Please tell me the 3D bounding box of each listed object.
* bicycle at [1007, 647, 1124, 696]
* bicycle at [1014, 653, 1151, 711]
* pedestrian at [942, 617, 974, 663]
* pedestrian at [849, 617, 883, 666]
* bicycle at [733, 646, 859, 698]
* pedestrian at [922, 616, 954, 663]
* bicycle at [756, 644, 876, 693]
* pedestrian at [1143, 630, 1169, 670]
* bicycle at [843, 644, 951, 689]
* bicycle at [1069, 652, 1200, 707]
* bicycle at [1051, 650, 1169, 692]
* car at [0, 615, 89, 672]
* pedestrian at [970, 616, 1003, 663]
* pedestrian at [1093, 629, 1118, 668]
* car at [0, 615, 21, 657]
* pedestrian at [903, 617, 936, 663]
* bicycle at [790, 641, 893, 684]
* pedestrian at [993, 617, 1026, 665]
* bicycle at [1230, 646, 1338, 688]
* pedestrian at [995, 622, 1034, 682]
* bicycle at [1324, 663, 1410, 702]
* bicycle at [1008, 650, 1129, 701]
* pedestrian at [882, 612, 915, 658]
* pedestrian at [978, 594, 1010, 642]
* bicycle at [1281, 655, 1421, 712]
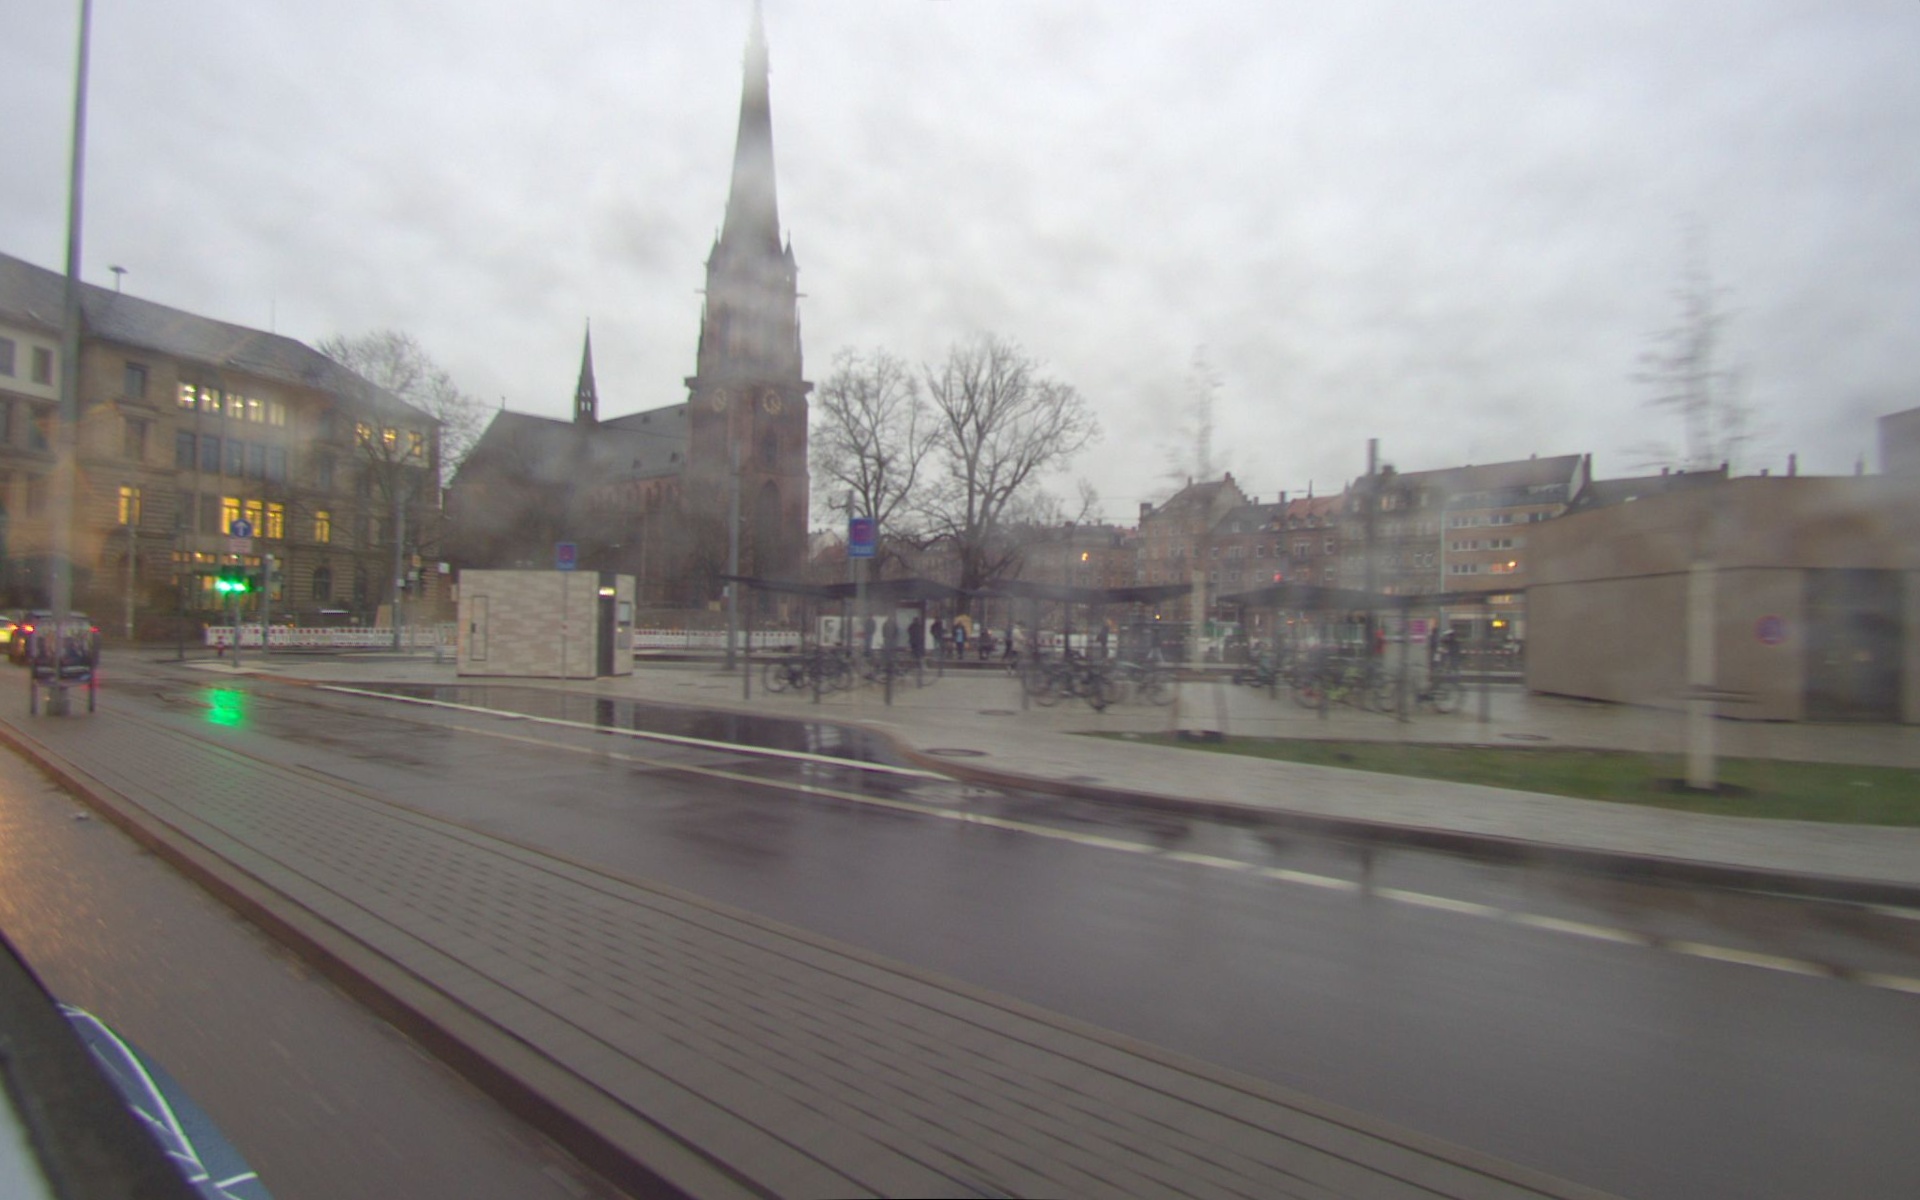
[{"bbox_3d":[2.492,1.699,24.153,2.713,1.113,0.647,1,0,1],"label":"bicycle"},{"bbox_3d":[2.505,1.666,20.681,2.720,1.113,0.645,-1,0,10],"label":"bicycle"},{"bbox_3d":[-0.084,1.633,41.744,0.848,1.864,1.021,-1,0,41],"label":"pedestrian"},{"bbox_3d":[-3.798,1.658,40.903,0.848,1.864,1.036,-1,2,41],"label":"pedestrian"},{"bbox_3d":[-3.668,1.610,22.697,2.720,1.113,0.645,-1,0,10],"label":"bicycle"},{"bbox_3d":[-0.881,1.609,40.922,0.802,1.864,1.021,-1,-3,41],"label":"pedestrian"},{"bbox_3d":[-3.394,1.607,23.854,2.720,1.113,0.645,-1,0,10],"label":"bicycle"},{"bbox_3d":[9.213,2.351,47.576,0.808,1.844,0.935,-1,-3,41],"label":"pedestrian"},{"bbox_3d":[-1.618,1.714,26.208,2.720,1.113,0.645,-1,0,10],"label":"bicycle"},{"bbox_3d":[3.707,1.688,21.611,2.720,1.113,0.645,-1,0,10],"label":"bicycle"},{"bbox_3d":[4.088,1.933,27.828,3.155,1.058,0.793,1,-2,6],"label":"bicycle"},{"bbox_3d":[-27.765,1.282,30.654,4.000,1.607,1.655,-1,-2,43],"label":"car"},{"bbox_3d":[1.077,1.586,41.184,0.848,1.864,1.021,-1,0,41],"label":"pedestrian"},{"bbox_3d":[7.063,2.331,49.021,0.808,1.844,0.935,-1,-3,41],"label":"pedestrian"},{"bbox_3d":[-38.501,1.389,39.729,3.993,1.607,1.658,-1,-2,37],"label":"car"},{"bbox_3d":[-1.640,1.647,41.434,0.848,1.864,1.021,-1,-3,41],"label":"pedestrian"},{"bbox_3d":[-3.237,1.709,27.664,2.718,1.113,0.645,-1,0,7],"label":"bicycle"},{"bbox_3d":[1.972,1.634,40.418,0.848,1.864,1.021,-1,0,41],"label":"pedestrian"},{"bbox_3d":[8.833,1.827,27.649,2.720,1.113,0.645,-1,0,10],"label":"bicycle"},{"bbox_3d":[1.624,1.526,29.991,0.848,1.693,0.805,2,3,41],"label":"pedestrian"},{"bbox_3d":[9.844,1.983,24.530,1.841,0.878,0.605,1,-3,6],"label":"bicycle"},{"bbox_3d":[2.488,1.736,23.371,2.712,1.113,0.647,-1,0,1],"label":"bicycle"},{"bbox_3d":[-2.544,1.448,41.769,0.848,1.864,1.021,-1,-3,41],"label":"pedestrian"},{"bbox_3d":[1.339,0.726,39.649,0.808,1.844,0.935,-1,-3,40],"label":"pedestrian"},{"bbox_3d":[8.280,1.767,21.503,2.714,1.113,0.607,1,0,3],"label":"bicycle"}]
